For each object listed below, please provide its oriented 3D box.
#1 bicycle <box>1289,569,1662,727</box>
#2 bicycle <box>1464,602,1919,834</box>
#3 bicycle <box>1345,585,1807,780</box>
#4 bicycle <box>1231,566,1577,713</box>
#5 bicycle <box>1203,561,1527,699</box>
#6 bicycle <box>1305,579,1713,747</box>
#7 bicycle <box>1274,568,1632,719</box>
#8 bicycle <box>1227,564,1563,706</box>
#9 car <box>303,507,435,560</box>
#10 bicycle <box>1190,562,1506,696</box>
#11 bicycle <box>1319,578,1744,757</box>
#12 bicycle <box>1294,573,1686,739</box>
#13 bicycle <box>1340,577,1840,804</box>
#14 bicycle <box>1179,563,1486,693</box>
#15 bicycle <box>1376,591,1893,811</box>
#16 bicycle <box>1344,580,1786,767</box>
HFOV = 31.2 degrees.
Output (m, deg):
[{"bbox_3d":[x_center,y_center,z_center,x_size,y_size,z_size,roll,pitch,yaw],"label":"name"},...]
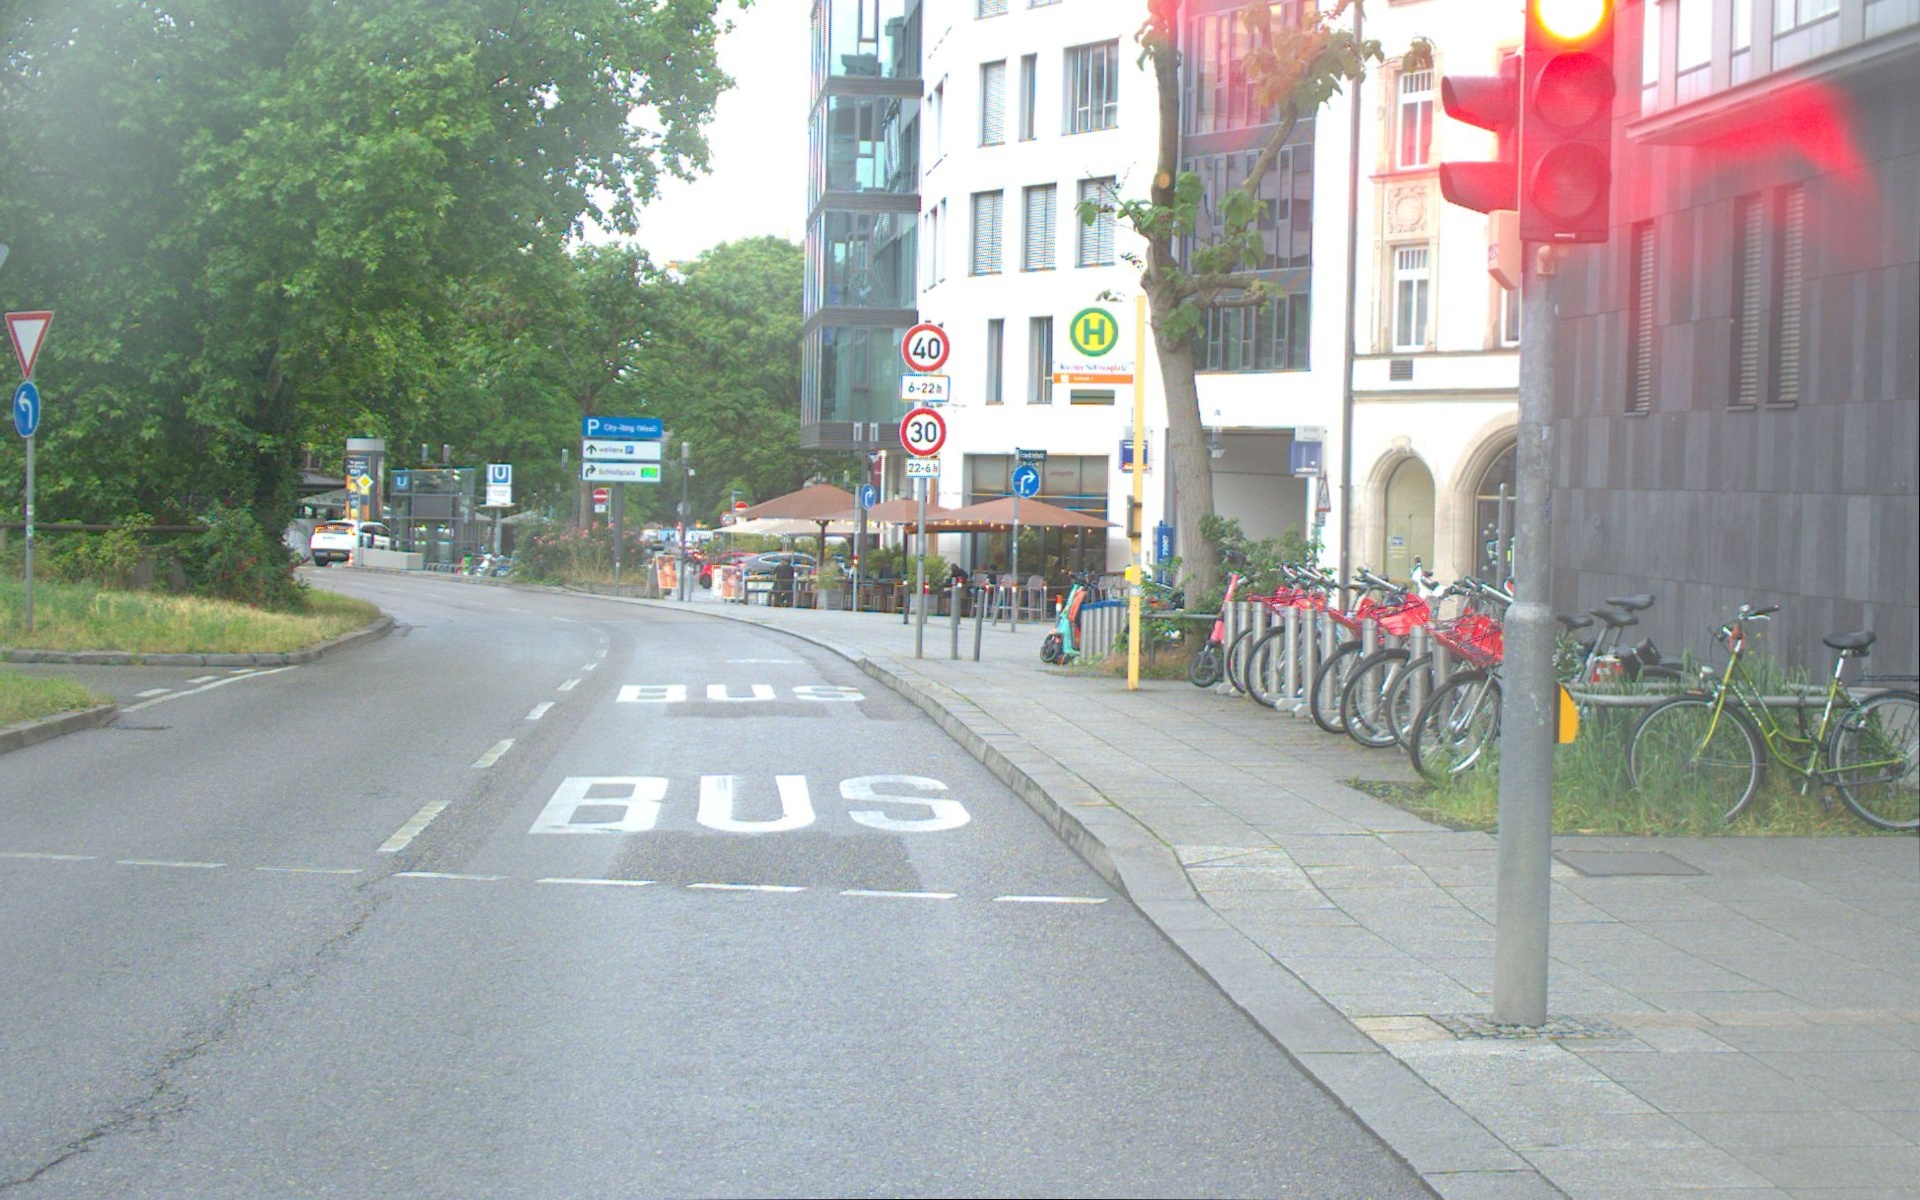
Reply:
[{"bbox_3d":[3.677,0.339,24.611,2.535,1.083,0.677,1,1,-5],"label":"bicycle"},{"bbox_3d":[3.749,0.561,16.469,2.535,1.053,0.677,1,1,-5],"label":"bicycle"},{"bbox_3d":[3.562,0.471,19.975,2.535,1.083,0.677,1,1,-5],"label":"bicycle"},{"bbox_3d":[3.404,0.301,26.428,2.535,1.083,0.677,1,1,-5],"label":"bicycle"},{"bbox_3d":[3.295,0.243,28.069,2.535,1.083,0.677,1,1,-5],"label":"bicycle"},{"bbox_3d":[3.580,0.405,22.506,2.535,1.056,0.677,1,1,-5],"label":"bicycle"},{"bbox_3d":[3.654,0.320,25.589,2.535,1.083,0.677,1,1,-5],"label":"bicycle"},{"bbox_3d":[3.430,0.272,27.180,2.535,1.083,0.677,1,1,-5],"label":"bicycle"},{"bbox_3d":[-20.485,-2.305,119.250,2.184,1.695,3.990,3,2,42],"label":"car"},{"bbox_3d":[3.239,0.241,28.816,2.535,1.083,0.677,1,1,-5],"label":"bicycle"},{"bbox_3d":[3.585,0.418,21.639,2.535,1.083,0.677,1,1,-5],"label":"bicycle"},{"bbox_3d":[3.599,0.374,23.414,2.535,1.083,0.677,1,1,-5],"label":"bicycle"},{"bbox_3d":[3.417,0.488,18.749,2.535,1.083,0.677,3,1,-5],"label":"bicycle"},{"bbox_3d":[3.194,0.237,29.538,2.535,1.083,0.627,1,1,-5],"label":"bicycle"},{"bbox_3d":[3.504,0.521,17.946,2.535,1.083,0.677,1,1,-5],"label":"bicycle"},{"bbox_3d":[3.651,0.438,20.829,2.535,1.083,0.677,1,1,-5],"label":"bicycle"}]
